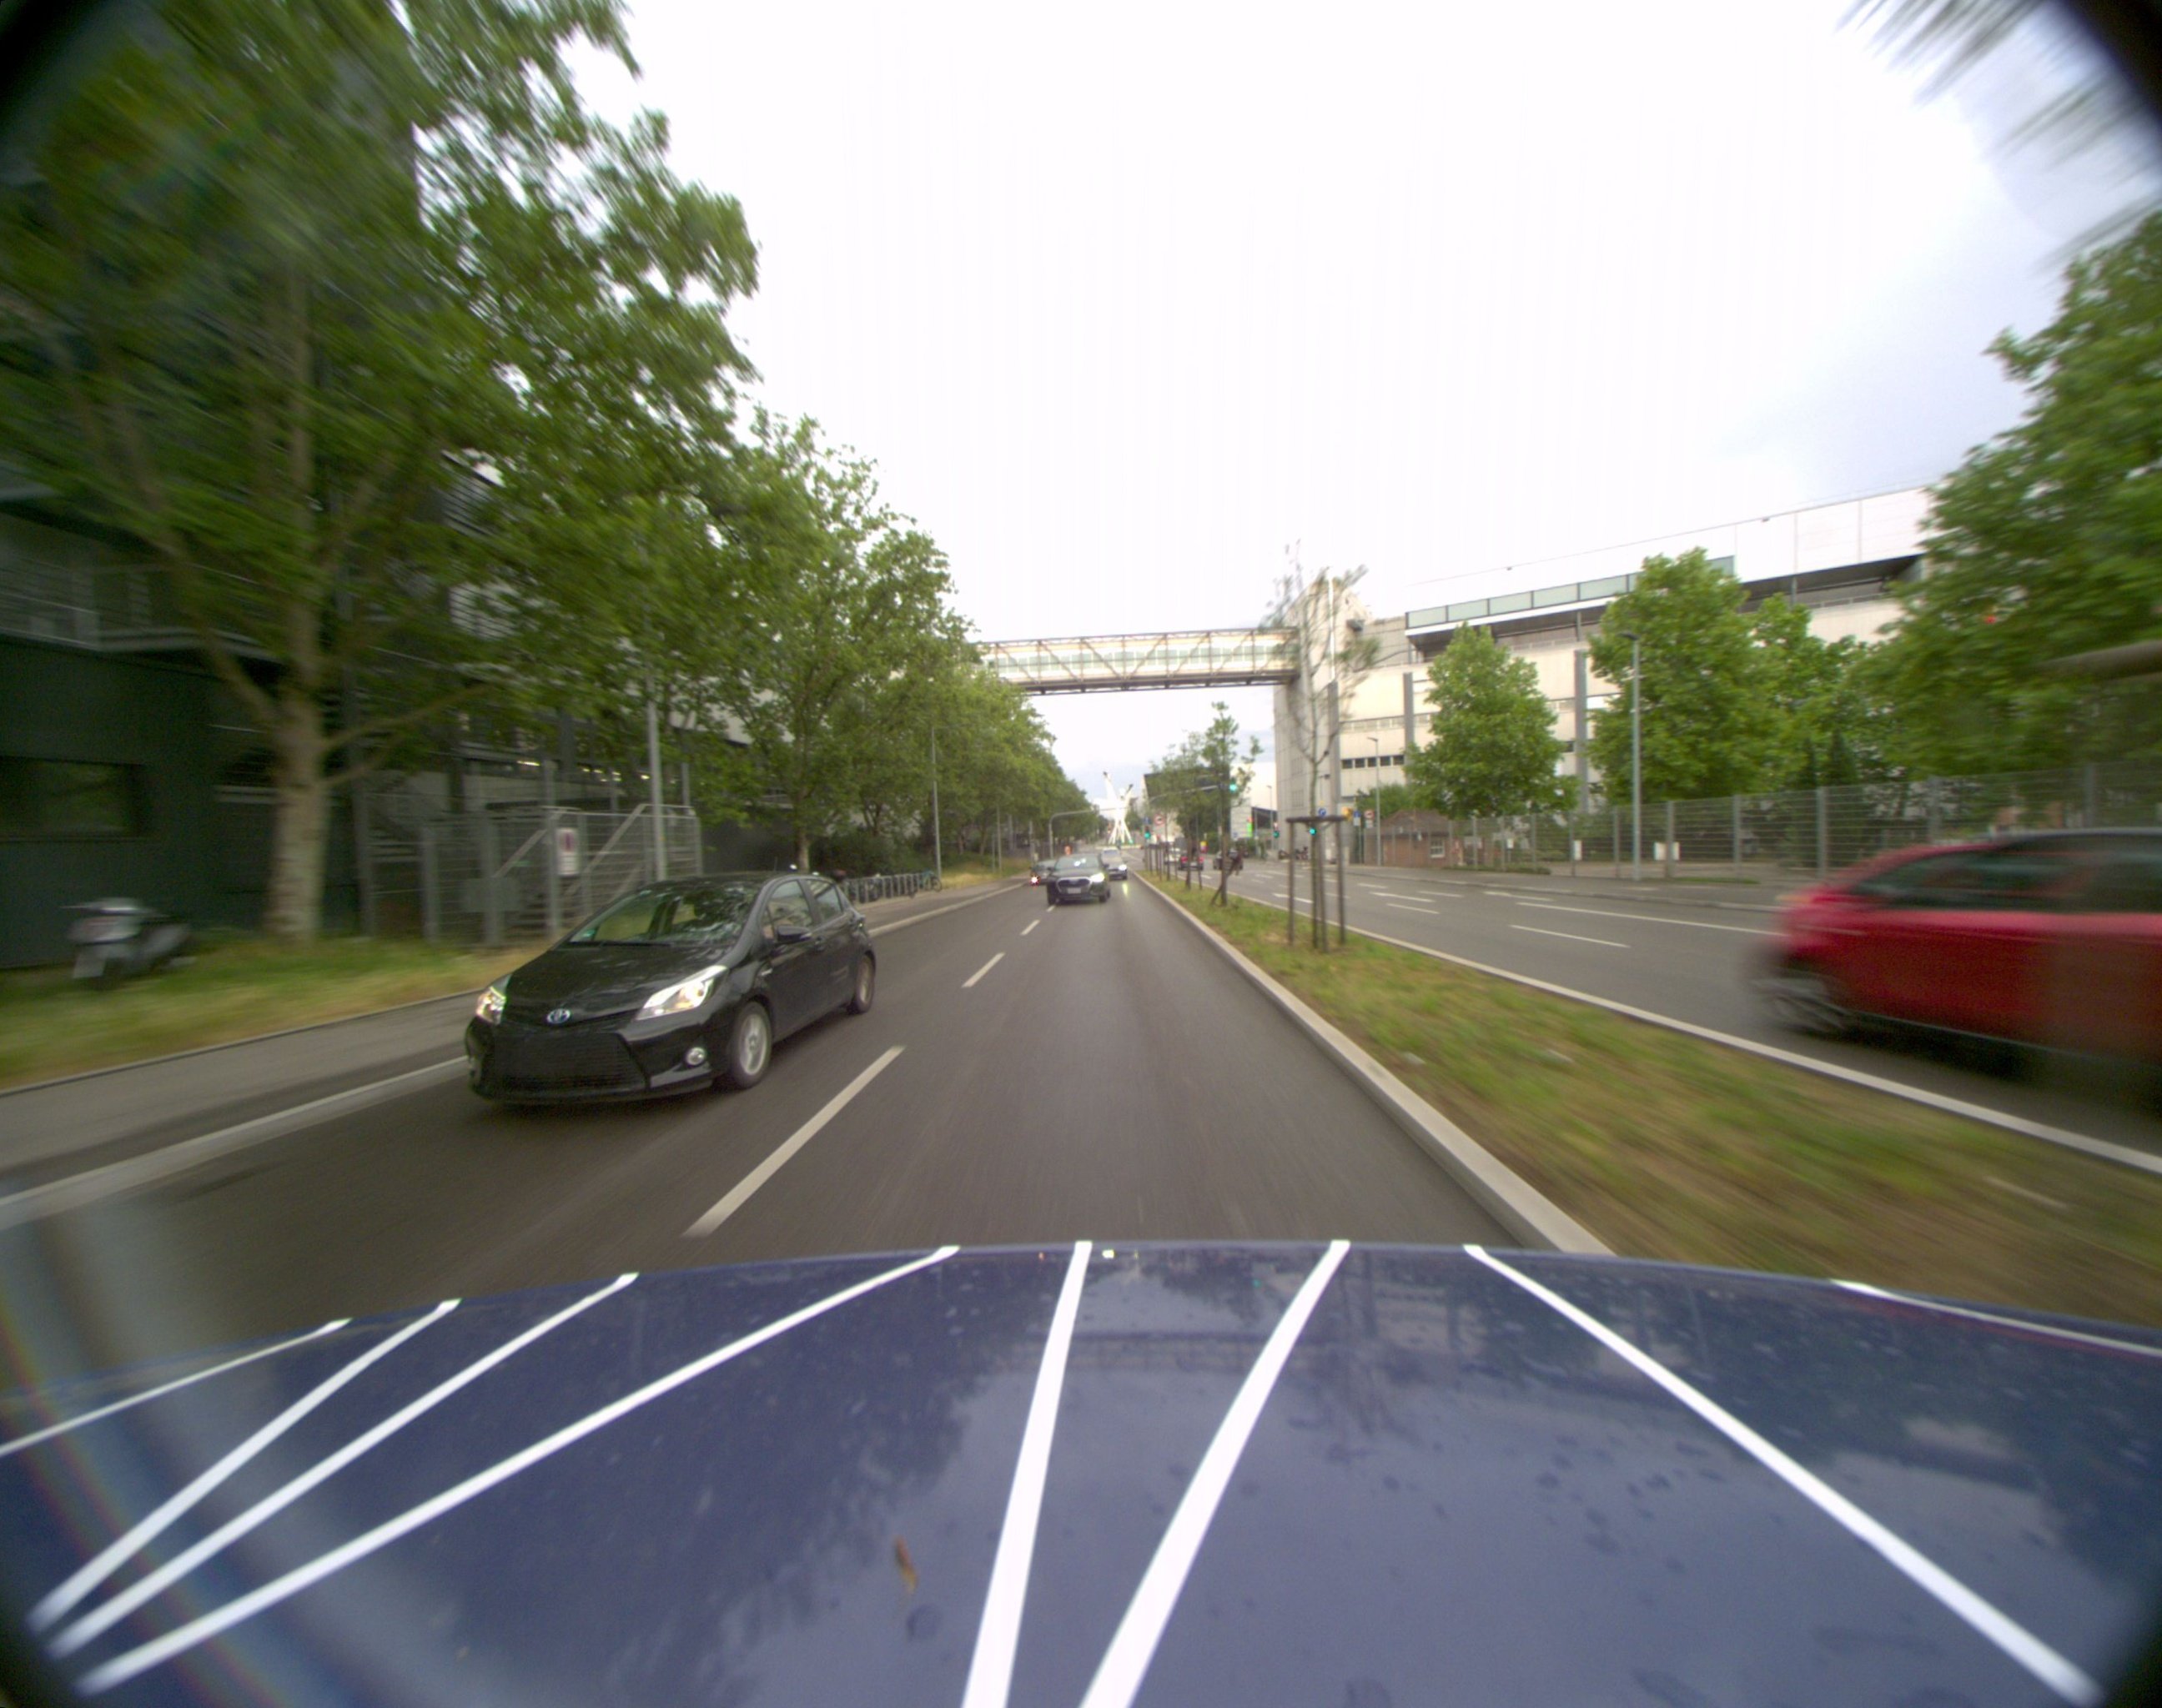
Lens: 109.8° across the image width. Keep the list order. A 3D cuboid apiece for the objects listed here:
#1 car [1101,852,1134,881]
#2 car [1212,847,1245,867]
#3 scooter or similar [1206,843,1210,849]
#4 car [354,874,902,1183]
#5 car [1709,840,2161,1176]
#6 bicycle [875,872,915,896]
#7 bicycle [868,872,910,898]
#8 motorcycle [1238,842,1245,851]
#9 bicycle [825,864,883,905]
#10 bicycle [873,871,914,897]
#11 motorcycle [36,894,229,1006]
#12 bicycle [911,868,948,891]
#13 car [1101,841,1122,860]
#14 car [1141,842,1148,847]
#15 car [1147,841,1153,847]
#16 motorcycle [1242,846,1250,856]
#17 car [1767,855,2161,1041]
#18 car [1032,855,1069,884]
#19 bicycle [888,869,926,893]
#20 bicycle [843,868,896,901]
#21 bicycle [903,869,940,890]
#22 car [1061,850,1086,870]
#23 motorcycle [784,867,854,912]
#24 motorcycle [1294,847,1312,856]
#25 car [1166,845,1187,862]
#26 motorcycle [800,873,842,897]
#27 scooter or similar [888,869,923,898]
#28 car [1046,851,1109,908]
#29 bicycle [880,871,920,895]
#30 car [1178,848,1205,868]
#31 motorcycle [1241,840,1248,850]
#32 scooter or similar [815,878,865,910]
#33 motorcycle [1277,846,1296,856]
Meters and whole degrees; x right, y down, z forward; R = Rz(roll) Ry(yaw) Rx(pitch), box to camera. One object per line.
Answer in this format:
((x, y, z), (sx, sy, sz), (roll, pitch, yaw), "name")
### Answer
((2.078, 0.711, 43.969), (1.819, 1.536, 4.065), (-1, -1, 2), "car")
((11.135, 0.222, 57.458), (1.777, 1.396, 4.615), (-1, 1, 2), "car")
((21.299, -1.339, 127.364), (0.394, 1.123, 1.569), (-1, 1, 3), "scooter or similar")
((-3.071, 1.043, 6.552), (1.749, 1.461, 4.640), (-3, 1, 2), "car")
((5.956, 0.719, 4.357), (1.589, 1.596, 3.855), (0, 1, 2), "car")
((-7.757, 1.245, 31.781), (1.555, 0.953, 0.393), (-1, 1, 2), "bicycle")
((-7.645, 1.242, 30.311), (1.555, 0.999, 0.393), (-1, 1, 2), "bicycle")
((21.598, -1.056, 102.442), (0.626, 1.208, 1.968), (-1, 1, 3), "motorcycle")
((-7.817, 1.046, 26.230), (1.864, 1.340, 0.447), (-1, 1, -10), "bicycle")
((-7.697, 1.218, 31.133), (1.555, 0.999, 0.393), (-1, 1, 2), "bicycle")
((-11.776, 1.134, 9.533), (0.478, 1.139, 1.894), (-4, 1, -18), "motorcycle")
((-6.783, 1.148, 34.087), (1.555, 0.999, 0.393), (-1, 1, 2), "bicycle")
((3.184, -0.394, 79.032), (2.035, 1.920, 4.332), (-2, 1, 2), "car")
((17.884, -2.713, 214.389), (1.775, 1.580, 4.485), (-1, 1, 4), "car")
((20.417, -3.010, 225.001), (1.775, 1.580, 4.485), (-1, 1, 4), "car")
((20.421, -0.362, 94.164), (0.569, 1.156, 2.038), (-1, 1, 1), "motorcycle")
((9.486, 0.748, 7.673), (1.719, 1.429, 3.771), (0, 1, 1), "car")
((-1.744, 0.853, 44.145), (1.749, 1.422, 4.517), (-3, 1, 2), "car")
((-7.569, 1.183, 33.112), (1.555, 0.999, 0.393), (-1, 1, 2), "bicycle")
((-7.775, 1.132, 28.000), (1.793, 1.160, 0.447), (-1, 1, -4), "bicycle")
((-7.539, 1.214, 35.919), (1.611, 0.934, 0.387), (-1, 1, 2), "bicycle")
((-0.614, 0.473, 64.642), (1.825, 1.581, 4.332), (-2, 1, 2), "car")
((-7.697, 1.045, 22.323), (2.011, 1.266, 0.442), (-1, 1, 14), "motorcycle")
((23.663, -0.271, 81.063), (0.627, 1.021, 2.166), (-2, 1, -25), "motorcycle")
((9.695, -0.051, 77.284), (1.775, 1.580, 4.485), (-1, 1, 4), "car")
((-11.157, 1.317, 32.612), (1.611, 0.996, 0.577), (-1, 1, 2), "motorcycle")
((-6.734, 1.133, 29.156), (1.216, 1.085, 0.312), (-1, 1, -2), "scooter or similar")
((-0.003, 0.744, 25.313), (1.819, 1.536, 5.608), (-2, 1, 2), "car")
((-7.658, 1.236, 32.194), (1.555, 0.953, 0.393), (-1, 1, 2), "bicycle")
((8.170, 0.289, 56.319), (1.581, 1.396, 4.111), (-1, 1, 2), "car")
((21.305, -1.153, 99.020), (0.626, 1.260, 2.172), (-3, 1, 8), "motorcycle")
((-7.597, 1.266, 23.973), (1.478, 0.931, 0.366), (-1, 1, -15), "scooter or similar")
((22.454, -0.322, 83.025), (0.628, 1.021, 2.165), (-2, 1, -33), "motorcycle")
